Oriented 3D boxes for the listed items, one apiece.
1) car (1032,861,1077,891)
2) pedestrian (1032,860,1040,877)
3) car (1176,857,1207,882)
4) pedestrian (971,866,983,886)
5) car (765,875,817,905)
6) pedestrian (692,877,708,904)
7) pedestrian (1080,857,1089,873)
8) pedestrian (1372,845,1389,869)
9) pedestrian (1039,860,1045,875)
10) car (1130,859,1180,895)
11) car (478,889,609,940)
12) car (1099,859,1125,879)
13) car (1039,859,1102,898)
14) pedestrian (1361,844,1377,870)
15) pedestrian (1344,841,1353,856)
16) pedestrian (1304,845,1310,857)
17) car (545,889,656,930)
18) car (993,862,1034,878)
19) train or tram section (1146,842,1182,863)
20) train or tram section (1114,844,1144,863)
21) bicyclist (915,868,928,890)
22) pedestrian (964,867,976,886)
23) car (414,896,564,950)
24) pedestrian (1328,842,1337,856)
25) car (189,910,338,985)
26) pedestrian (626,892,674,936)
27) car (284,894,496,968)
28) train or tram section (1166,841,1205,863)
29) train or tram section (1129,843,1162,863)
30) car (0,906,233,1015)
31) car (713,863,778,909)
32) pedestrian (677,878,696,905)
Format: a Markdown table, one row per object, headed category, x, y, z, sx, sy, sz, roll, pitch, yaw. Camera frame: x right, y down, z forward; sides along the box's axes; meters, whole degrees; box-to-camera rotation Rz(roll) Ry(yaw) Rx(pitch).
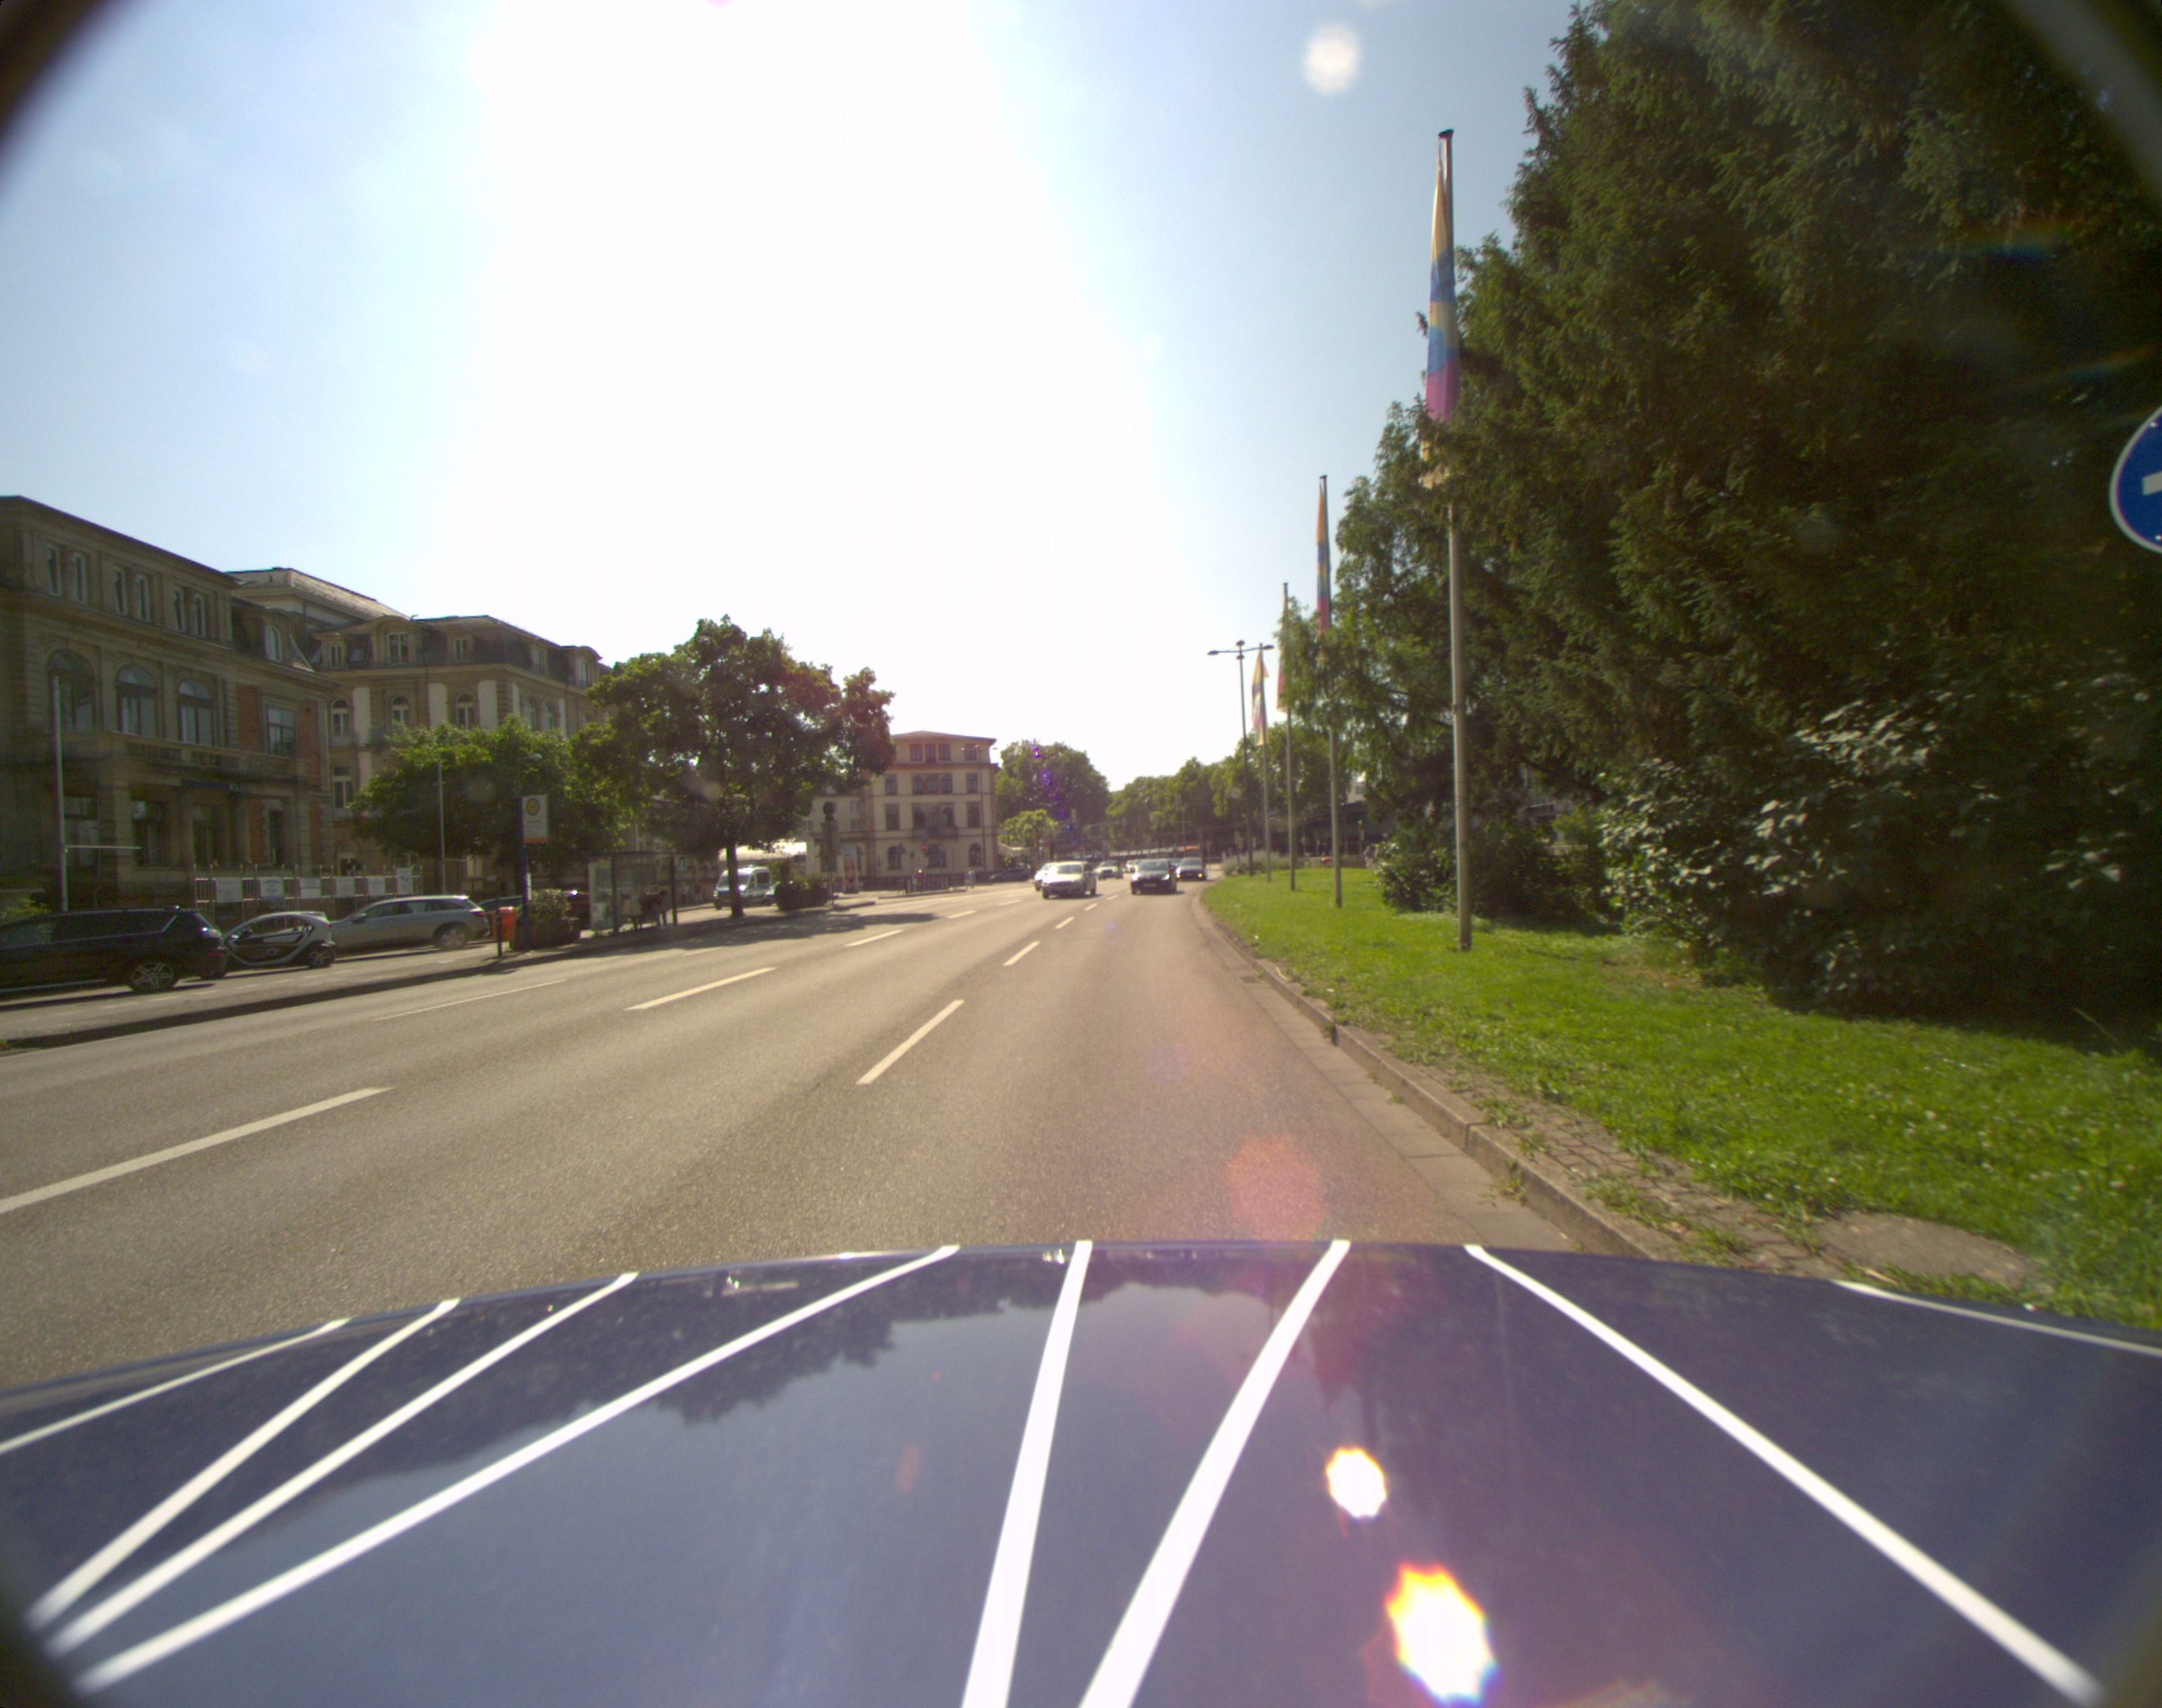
| category | x | y | z | sx | sy | sz | roll | pitch | yaw |
| --- | --- | --- | --- | --- | --- | --- | --- | --- | --- |
| car | -1.404 | 1.170 | 41.576 | 1.790 | 1.443 | 3.976 | -1 | 0 | 7 |
| pedestrian | -4.881 | 1.612 | 82.437 | 0.726 | 1.794 | 0.652 | -3 | 0 | -10 |
| car | 7.037 | 0.963 | 48.205 | 1.789 | 1.484 | 4.091 | -1 | 0 | 10 |
| pedestrian | -8.696 | 1.826 | 63.420 | 0.753 | 1.649 | 0.829 | -3 | 0 | 3 |
| car | -18.046 | 2.185 | 47.487 | 1.822 | 1.616 | 4.877 | -3 | 0 | -7 |
| pedestrian | -25.958 | 2.490 | 51.742 | 0.702 | 1.741 | 0.721 | -3 | 0 | -7 |
| pedestrian | 0.380 | 1.335 | 90.614 | 0.730 | 1.834 | 0.590 | -3 | 0 | -39 |
| pedestrian | 19.170 | 0.217 | 48.626 | 0.851 | 1.501 | 0.475 | -3 | 0 | -4 |
| pedestrian | -4.464 | 1.522 | 86.379 | 0.535 | 1.639 | 0.673 | -3 | 0 | -13 |
| car | 3.353 | 0.961 | 33.635 | 1.789 | 1.443 | 4.284 | -1 | 0 | 11 |
| car | -20.737 | 2.288 | 29.394 | 3.885 | 1.565 | 1.745 | -3 | 0 | -43 |
| car | 2.550 | 1.150 | 61.519 | 1.790 | 1.503 | 4.283 | -1 | 0 | 7 |
| car | -0.364 | 0.997 | 32.021 | 1.718 | 1.491 | 4.495 | -2 | -1 | 11 |
| pedestrian | 18.451 | 0.203 | 48.673 | 0.692 | 1.584 | 0.600 | -3 | 0 | -4 |
| pedestrian | 35.127 | -0.710 | 99.796 | 0.824 | 1.825 | 0.670 | -2 | 1 | -17 |
| pedestrian | 31.350 | -0.444 | 105.324 | 0.564 | 1.628 | 0.601 | -2 | 1 | 28 |
| car | -20.536 | 2.326 | 32.545 | 3.707 | 1.410 | 1.745 | -3 | 0 | -43 |
| car | -6.663 | 1.576 | 75.092 | 3.973 | 1.443 | 1.791 | -1 | 0 | -6 |
| train or tram section | 14.204 | -0.208 | 130.264 | 2.736 | 3.248 | 8.726 | -3 | 0 | -17 |
| train or tram section | 9.213 | -0.066 | 147.006 | 2.736 | 3.248 | 8.726 | -3 | 0 | -17 |
| bicyclist | -11.672 | 1.832 | 55.627 | 0.592 | 1.597 | 0.685 | -3 | 0 | 19 |
| pedestrian | -9.417 | 1.901 | 64.399 | 0.772 | 1.563 | 0.830 | -3 | 0 | 4 |
| car | -20.008 | 2.285 | 25.774 | 3.828 | 1.409 | 1.602 | -3 | 0 | -43 |
| pedestrian | 33.328 | -0.620 | 100.712 | 0.824 | 1.825 | 0.670 | -2 | 1 | -17 |
| car | -19.656 | 2.190 | 18.322 | 1.198 | 1.474 | 2.293 | -3 | 0 | 37 |
| pedestrian | -12.701 | 1.761 | 22.422 | 1.022 | 1.190 | 0.791 | -3 | 0 | -17 |
| car | -19.812 | 2.115 | 21.935 | 1.709 | 1.620 | 4.324 | -3 | 0 | 43 |
| train or tram section | 16.710 | -0.279 | 121.937 | 2.736 | 3.248 | 8.726 | -3 | 0 | -17 |
| train or tram section | 11.695 | -0.136 | 138.631 | 2.736 | 3.248 | 8.726 | -3 | 0 | -17 |
| car | -19.316 | 2.003 | 14.368 | 1.709 | 1.686 | 4.282 | -3 | 0 | 40 |
| car | -20.671 | 1.893 | 47.096 | 1.999 | 2.588 | 5.316 | -3 | 0 | -6 |
| pedestrian | -26.853 | 2.531 | 51.715 | 0.821 | 1.730 | 0.750 | -3 | 0 | -9 |
